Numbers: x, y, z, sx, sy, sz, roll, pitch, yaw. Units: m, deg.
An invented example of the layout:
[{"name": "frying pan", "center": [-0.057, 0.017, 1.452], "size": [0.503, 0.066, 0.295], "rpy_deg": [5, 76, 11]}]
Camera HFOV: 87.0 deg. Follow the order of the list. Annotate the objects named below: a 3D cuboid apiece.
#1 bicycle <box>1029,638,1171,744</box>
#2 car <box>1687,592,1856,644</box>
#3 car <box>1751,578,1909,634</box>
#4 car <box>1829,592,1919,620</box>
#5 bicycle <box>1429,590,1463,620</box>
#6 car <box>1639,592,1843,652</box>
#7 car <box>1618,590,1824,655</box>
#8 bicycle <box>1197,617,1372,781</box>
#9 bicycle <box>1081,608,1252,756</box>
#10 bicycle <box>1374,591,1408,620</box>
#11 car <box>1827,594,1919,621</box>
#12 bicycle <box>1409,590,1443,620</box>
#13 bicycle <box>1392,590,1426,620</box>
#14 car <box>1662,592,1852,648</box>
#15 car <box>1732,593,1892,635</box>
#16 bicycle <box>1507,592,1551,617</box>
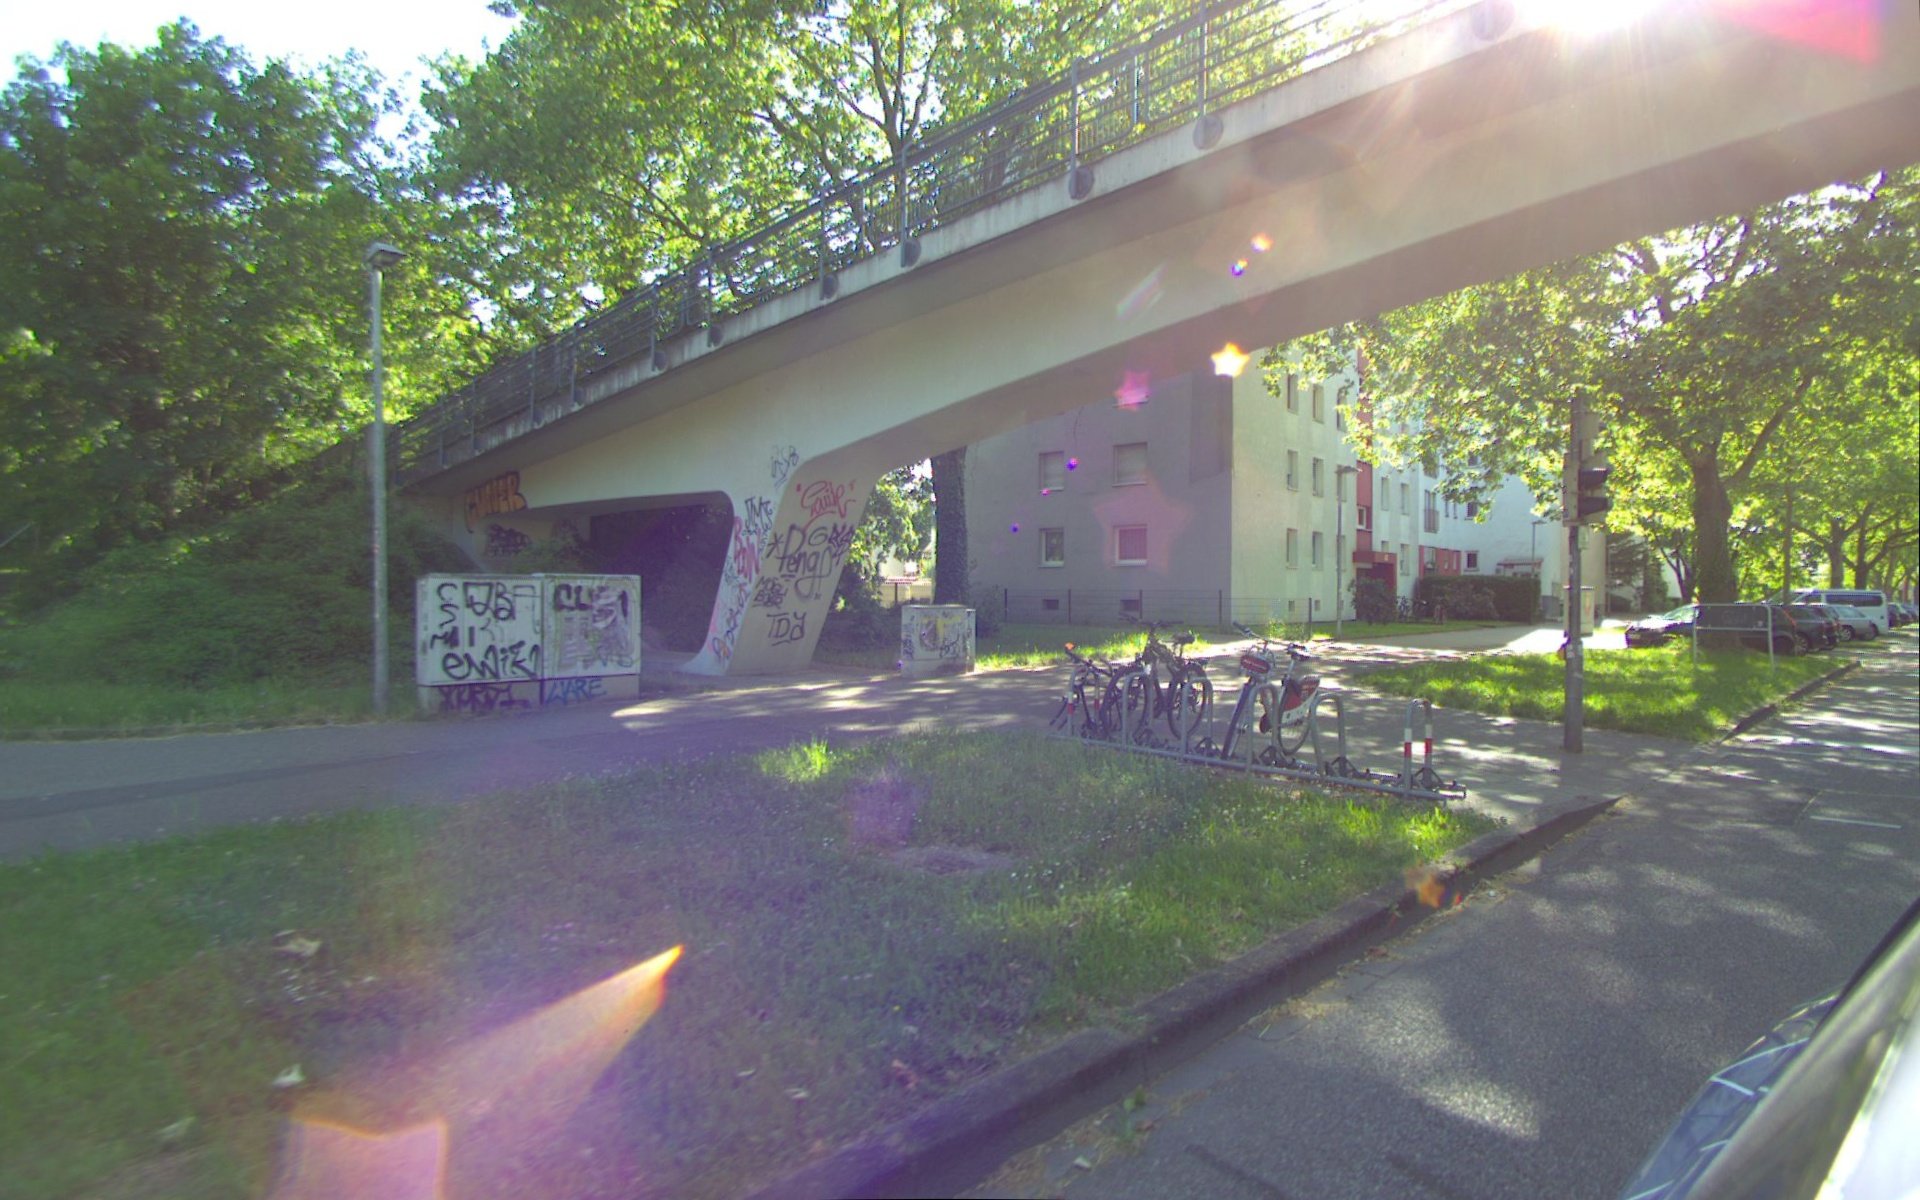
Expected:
[{"name": "bicycle", "center": [1.334, 0.818, 9.493], "size": [1.449, 0.862, 0.505], "rpy_deg": [1, 2, -45]}, {"name": "car", "center": [26.466, 0.566, 33.132], "size": [3.928, 1.486, 1.781], "rpy_deg": [2, 2, 4]}, {"name": "car", "center": [35.883, 0.203, 41.866], "size": [4.511, 2.078, 2.014], "rpy_deg": [2, 2, 7]}, {"name": "car", "center": [57.069, 0.377, 63.129], "size": [3.931, 1.595, 1.797], "rpy_deg": [2, 1, 7]}, {"name": "bicycle", "center": [18.431, 0.191, 38.372], "size": [1.770, 1.121, 0.590], "rpy_deg": [0, 0, -44]}, {"name": "car", "center": [22.082, 0.593, 28.768], "size": [4.183, 1.479, 1.797], "rpy_deg": [2, 2, 7]}, {"name": "car", "center": [19.972, 0.571, 26.697], "size": [3.926, 1.479, 1.799], "rpy_deg": [2, 2, 2]}, {"name": "bicycle", "center": [2.753, 0.761, 8.481], "size": [1.770, 1.197, 0.590], "rpy_deg": [1, 2, -45]}, {"name": "bicycle", "center": [1.915, 0.693, 9.224], "size": [1.770, 1.197, 0.590], "rpy_deg": [1, 2, -45]}, {"name": "bicycle", "center": [17.018, 0.200, 39.949], "size": [1.770, 1.121, 0.590], "rpy_deg": [0, 0, -44]}, {"name": "car", "center": [54.275, 0.448, 59.758], "size": [4.504, 1.440, 1.800], "rpy_deg": [1, 1, 2]}, {"name": "bicycle", "center": [17.947, 0.178, 38.936], "size": [1.770, 1.121, 0.590], "rpy_deg": [0, 0, -44]}, {"name": "bicycle", "center": [17.492, 0.190, 39.430], "size": [1.770, 1.121, 0.590], "rpy_deg": [0, 0, -44]}, {"name": "car", "center": [24.373, 0.580, 31.077], "size": [4.183, 1.479, 1.797], "rpy_deg": [2, 2, 7]}, {"name": "car", "center": [33.315, 0.526, 39.684], "size": [4.509, 1.441, 1.798], "rpy_deg": [2, 2, 6]}, {"name": "bicycle", "center": [28.053, 0.216, 49.941], "size": [1.794, 1.143, 0.492], "rpy_deg": [4, 3, 42]}]
